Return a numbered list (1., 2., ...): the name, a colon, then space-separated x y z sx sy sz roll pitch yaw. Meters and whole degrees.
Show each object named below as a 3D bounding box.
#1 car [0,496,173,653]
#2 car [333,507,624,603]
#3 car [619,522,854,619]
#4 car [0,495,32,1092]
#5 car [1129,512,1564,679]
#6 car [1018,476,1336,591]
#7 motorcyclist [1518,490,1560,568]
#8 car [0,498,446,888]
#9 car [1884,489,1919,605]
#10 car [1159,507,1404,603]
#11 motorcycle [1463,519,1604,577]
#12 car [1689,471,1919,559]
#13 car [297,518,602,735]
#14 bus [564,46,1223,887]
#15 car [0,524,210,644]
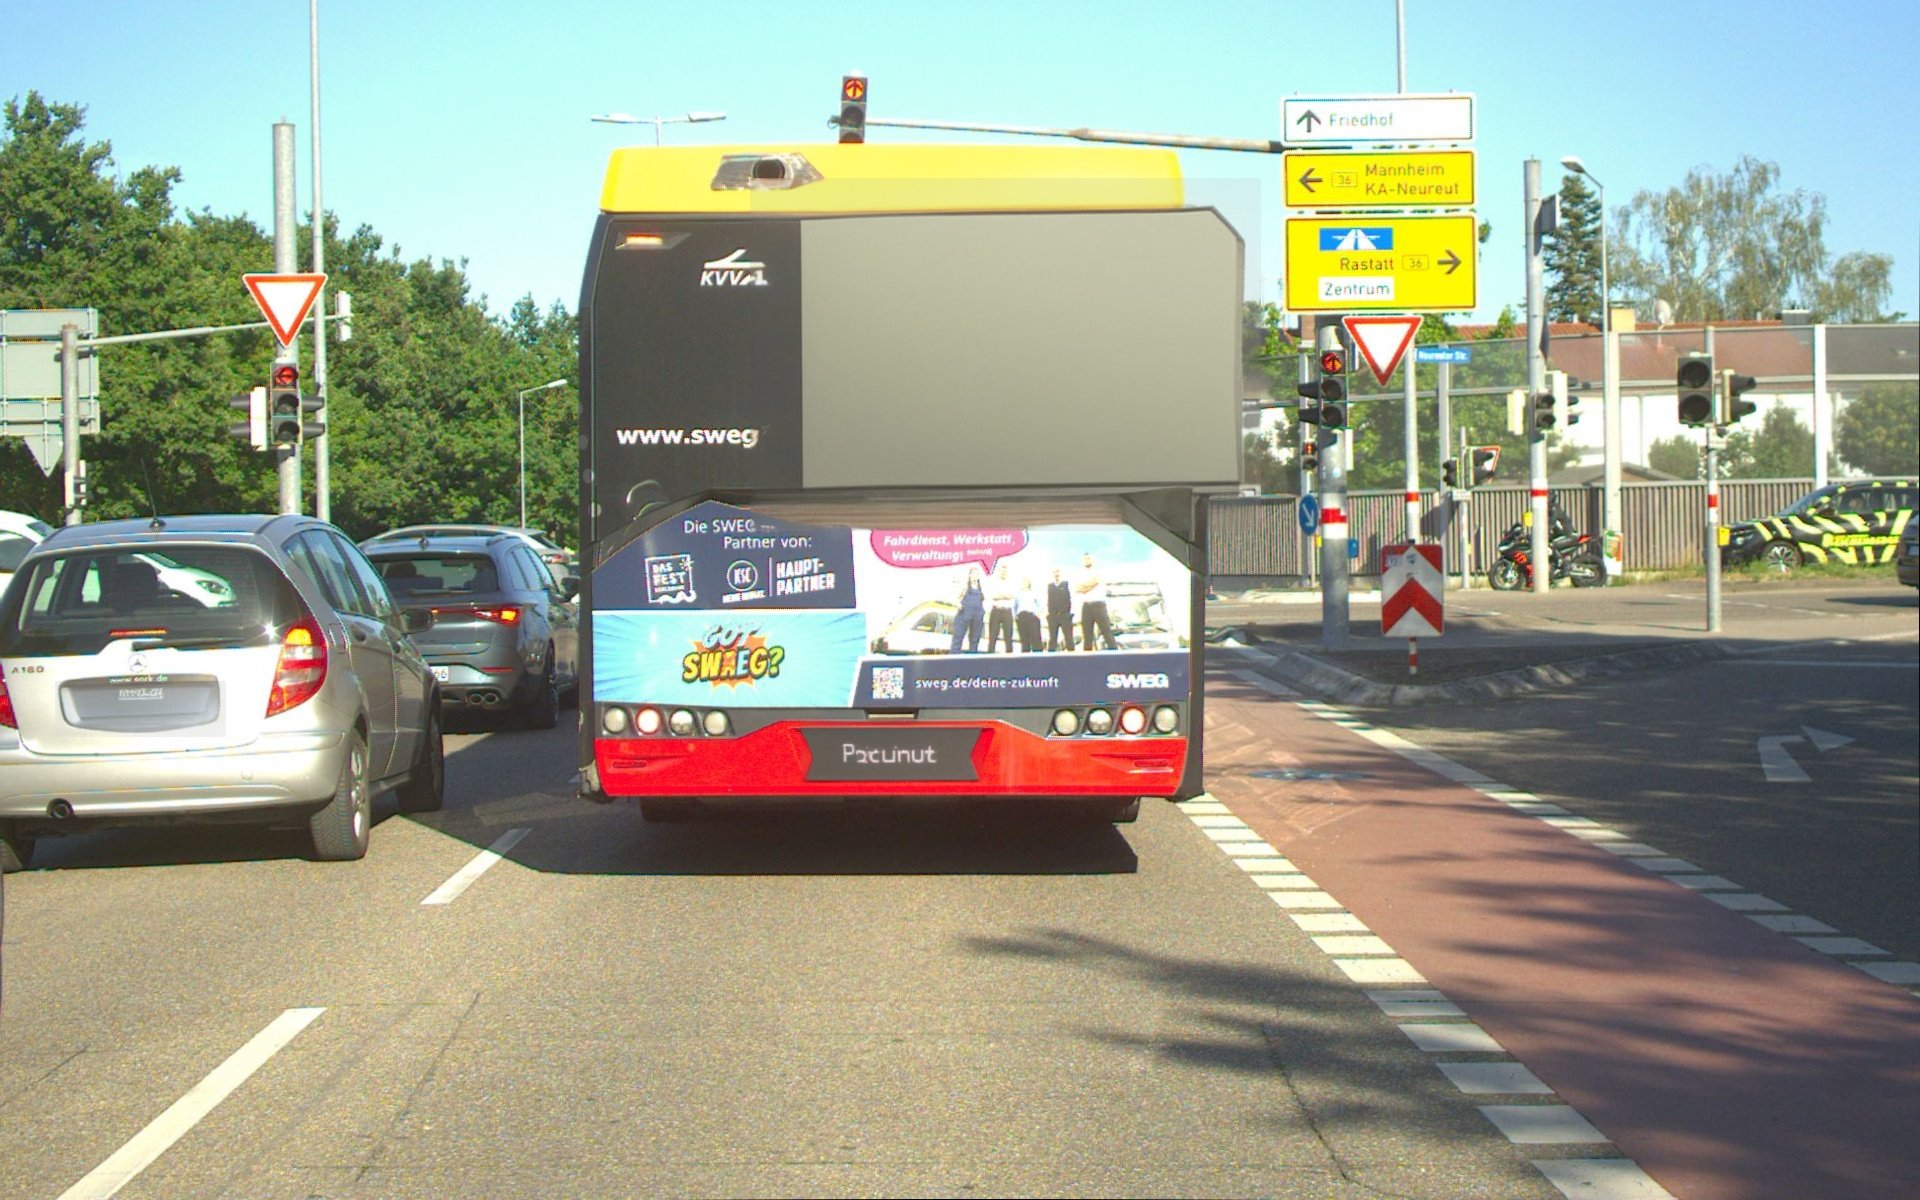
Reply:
1. car: -11.475 -0.284 40.560 4.110 1.795 1.458 -1 0 -6
2. car: -7.527 -0.699 54.036 4.413 1.454 1.575 0 0 -3
3. car: -3.897 -0.529 59.519 3.986 1.606 1.696 -1 1 -6
4. car: -3.585 0.580 7.893 1.821 1.668 4.003 -2 0 -1
5. car: 3.270 -0.051 28.964 3.523 1.297 1.574 -1 2 9
6. car: 3.003 -0.916 48.138 4.220 1.557 1.764 0 0 -5
7. motorcyclist: 9.425 -1.152 55.950 0.584 1.268 0.427 0 0 -6
8. car: -3.613 0.345 16.905 1.753 1.614 4.034 -1 2 -3
9. car: 14.088 -0.718 43.195 4.461 1.436 1.683 -1 2 -4
10. car: 5.575 -0.796 59.946 3.986 1.606 1.696 -1 1 -6
11. motorcycle: 9.334 -0.848 55.942 2.189 0.871 0.452 -2 1 -5
12. car: 13.378 -1.281 52.370 4.159 1.298 1.575 0 0 -3
13. car: -3.743 0.165 25.747 1.588 1.480 3.682 -1 1 2
14. bus: -0.321 -0.667 19.653 2.596 3.323 11.984 0 1 -1
15. car: -11.614 -0.198 44.245 3.669 1.480 1.594 -1 0 -6
